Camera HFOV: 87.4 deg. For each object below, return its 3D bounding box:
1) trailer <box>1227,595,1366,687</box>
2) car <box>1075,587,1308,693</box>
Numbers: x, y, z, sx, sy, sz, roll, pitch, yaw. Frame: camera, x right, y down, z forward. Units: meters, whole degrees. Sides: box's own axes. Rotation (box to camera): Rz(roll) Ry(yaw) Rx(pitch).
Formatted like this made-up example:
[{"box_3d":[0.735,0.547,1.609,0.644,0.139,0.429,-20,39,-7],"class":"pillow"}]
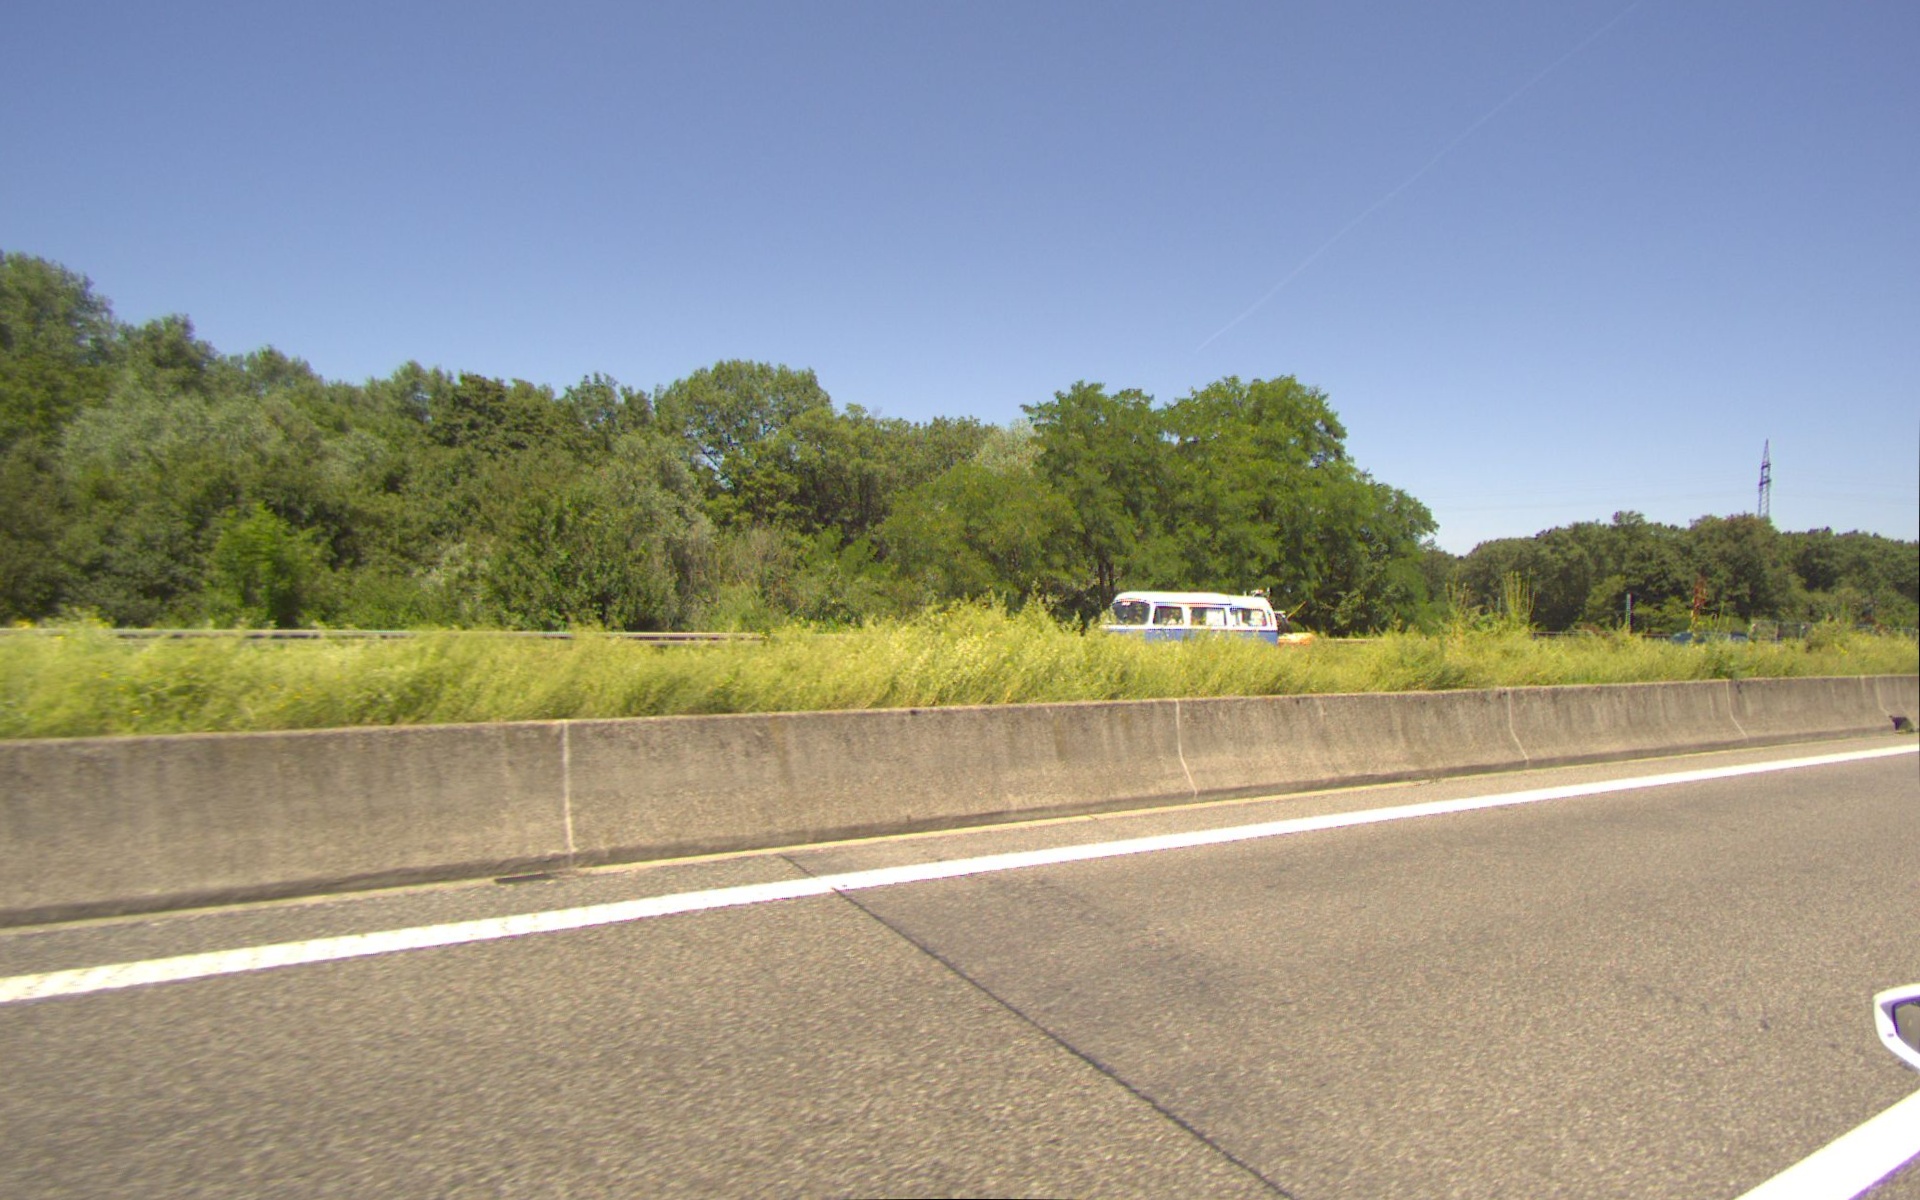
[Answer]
[{"box_3d":[7.982,0.931,23.893,2.342,2.052,2.092,1,0,-31],"class":"trailer"},{"box_3d":[5.168,0.857,22.223,4.912,2.110,2.115,2,-1,-30],"class":"car"}]
